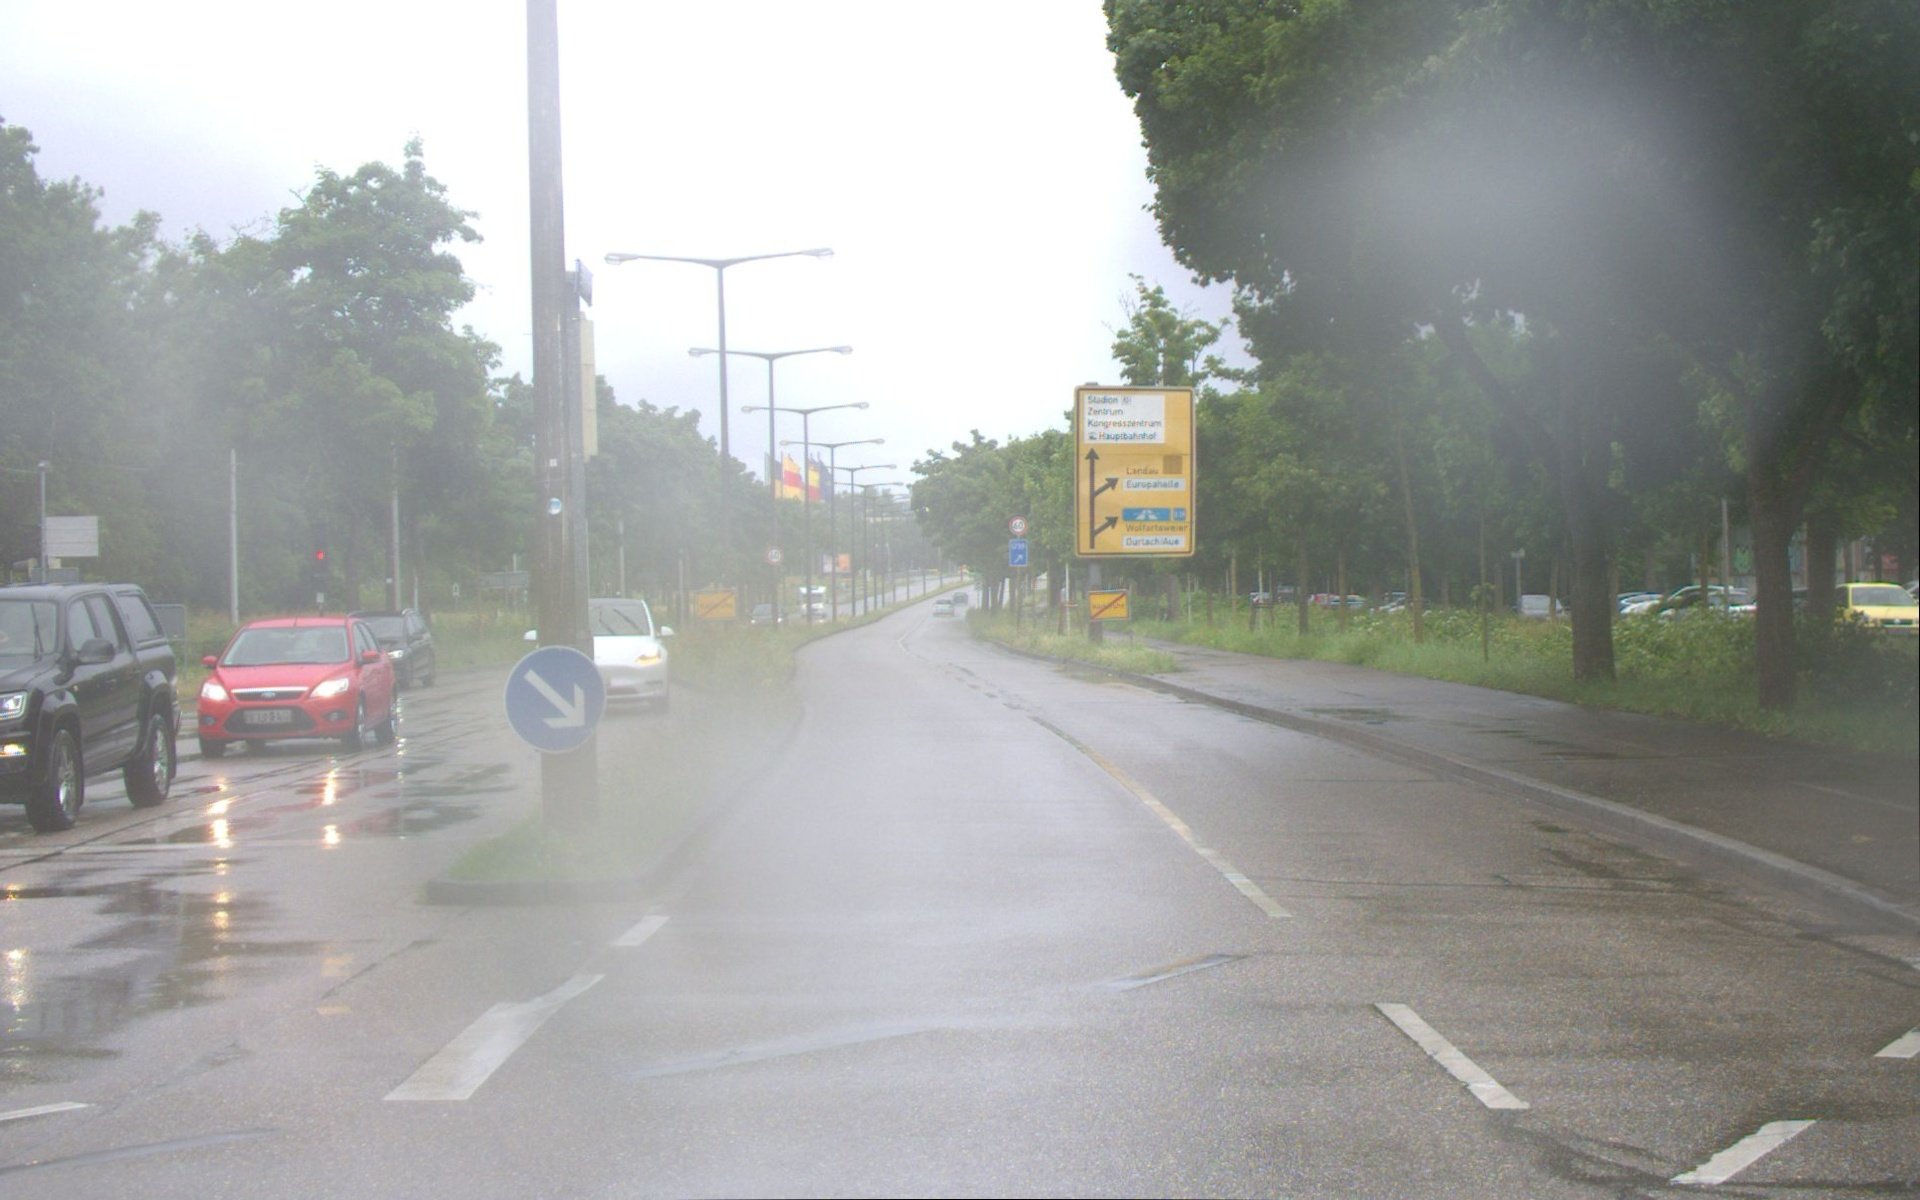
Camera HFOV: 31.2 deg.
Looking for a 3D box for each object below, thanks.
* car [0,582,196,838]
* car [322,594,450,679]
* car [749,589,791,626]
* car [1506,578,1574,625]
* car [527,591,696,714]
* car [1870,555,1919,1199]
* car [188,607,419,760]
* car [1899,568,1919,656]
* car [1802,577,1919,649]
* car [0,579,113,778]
[{"bbox_3d":[-7.354,0.787,26.461,1.805,1.767,5.089,-2,0,-1],"label":"car"},{"bbox_3d":[-11.894,0.738,71.449,1.707,1.636,4.330,-3,0,2],"label":"car"},{"bbox_3d":[-8.995,0.356,162.941,1.743,1.644,4.136,-3,0,-1],"label":"car"},{"bbox_3d":[19.787,0.043,117.451,1.745,1.440,4.122,-1,2,2],"label":"car"},{"bbox_3d":[-4.923,0.710,49.138,1.961,1.611,4.697,-1,0,-1],"label":"car"},{"bbox_3d":[2.871,0.709,5.127,1.884,1.605,4.195,0,0,0],"label":"car"},{"bbox_3d":[-7.387,0.917,39.075,1.801,1.564,4.429,-2,-1,-1],"label":"car"},{"bbox_3d":[19.696,0.208,65.747,1.993,1.711,4.642,-1,0,-2],"label":"car"},{"bbox_3d":[19.414,0.286,73.504,1.637,1.481,4.073,1,0,-2],"label":"car"},{"bbox_3d":[-10.694,0.800,37.063,1.929,2.011,4.743,-1,0,0],"label":"car"}]
